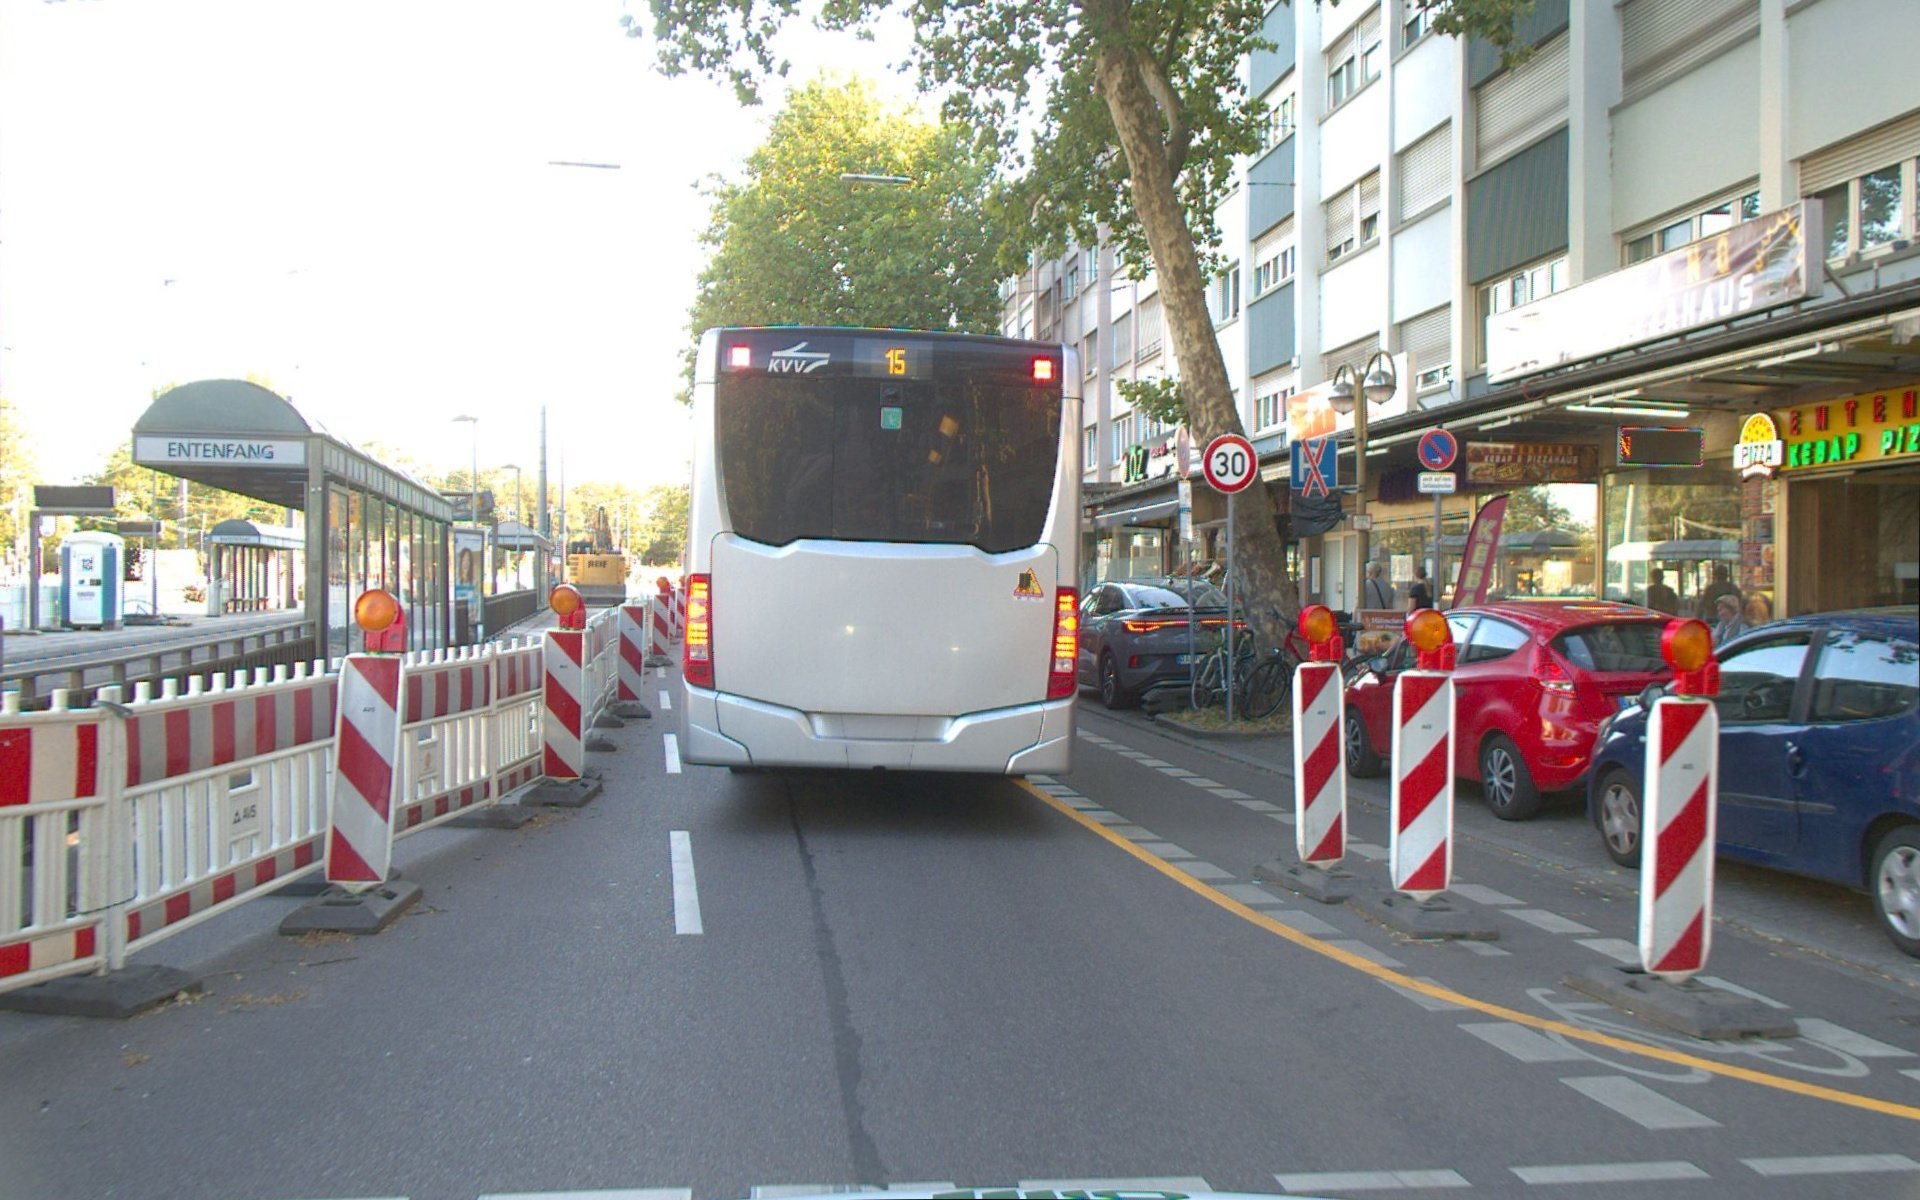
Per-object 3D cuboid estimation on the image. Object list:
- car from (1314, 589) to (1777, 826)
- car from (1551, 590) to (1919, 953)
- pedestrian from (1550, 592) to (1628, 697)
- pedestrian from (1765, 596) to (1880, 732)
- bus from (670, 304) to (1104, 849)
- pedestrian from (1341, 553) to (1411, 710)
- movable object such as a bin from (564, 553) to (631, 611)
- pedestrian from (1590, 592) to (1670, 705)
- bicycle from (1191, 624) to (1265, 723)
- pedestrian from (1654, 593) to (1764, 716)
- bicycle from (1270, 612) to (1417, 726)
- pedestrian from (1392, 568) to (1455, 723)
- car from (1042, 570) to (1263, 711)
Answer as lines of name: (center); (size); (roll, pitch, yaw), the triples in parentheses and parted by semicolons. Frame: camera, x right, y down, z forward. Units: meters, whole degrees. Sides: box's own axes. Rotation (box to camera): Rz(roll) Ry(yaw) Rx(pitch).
car: (4.263, 0.681, 12.719); (1.636, 1.454, 3.838); (-2, 1, -10)
car: (4.726, 0.737, 8.567); (1.589, 1.491, 3.598); (-2, 1, -9)
pedestrian: (7.705, 0.533, 20.272); (0.663, 1.224, 0.704); (-3, 0, 4)
pedestrian: (7.893, 0.571, 15.155); (0.582, 1.176, 0.752); (-3, 0, -5)
bus: (-0.788, -0.165, 15.053); (2.557, 3.225, 10.283); (1, 0, -4)
pedestrian: (5.511, 0.405, 21.945); (0.678, 2.049, 0.695); (0, 0, -10)
movable object such as a bin: (-16.106, -0.820, 73.662); (2.756, 2.505, 3.990); (0, 1, -11)
pedestrian: (7.784, 0.552, 19.238); (0.603, 1.265, 0.712); (-3, 0, 3)
bicycle: (2.899, 0.782, 17.967); (0.290, 0.943, 1.126); (-5, 4, -16)
pedestrian: (7.920, 0.567, 17.519); (0.846, 1.242, 0.698); (-3, 0, 8)
bicycle: (4.001, 0.719, 17.287); (1.429, 1.084, 0.296); (-3, 4, 5)
pedestrian: (6.254, 0.602, 22.333); (0.600, 2.049, 0.695); (0, 0, -6)
car: (2.438, 0.461, 22.053); (1.709, 1.625, 4.288); (-2, 1, -10)
